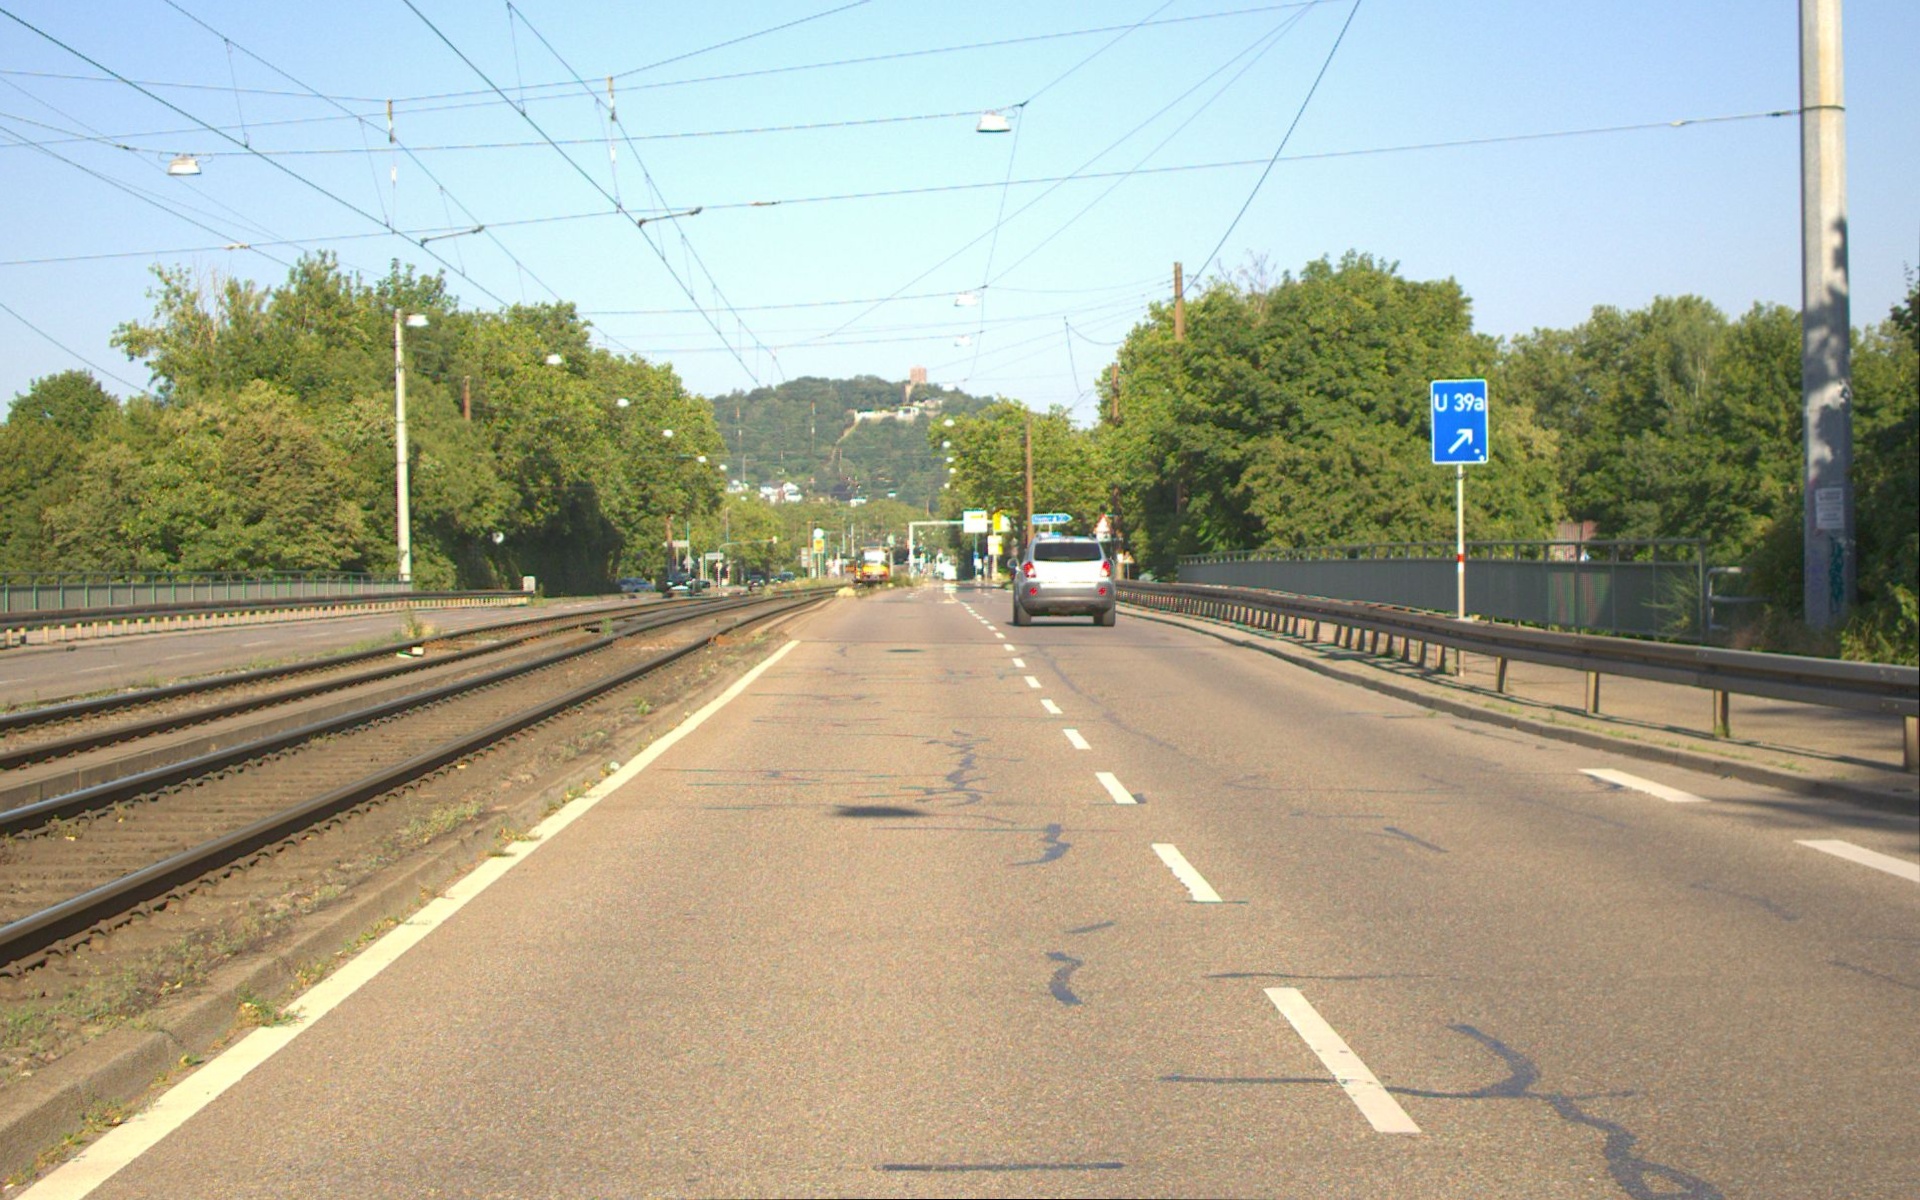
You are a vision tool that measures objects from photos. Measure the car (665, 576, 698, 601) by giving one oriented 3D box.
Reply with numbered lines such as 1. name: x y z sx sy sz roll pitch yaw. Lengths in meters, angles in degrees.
1. car: -19.350 -0.810 238.789 1.993 1.612 4.000 1 0 -1

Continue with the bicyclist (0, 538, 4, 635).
1. bicyclist: -18.747 -0.262 65.927 0.540 1.856 0.875 1 0 -1

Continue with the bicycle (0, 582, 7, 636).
1. bicycle: -18.760 0.176 65.744 0.540 1.040 1.925 1 0 -1

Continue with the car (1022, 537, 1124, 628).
1. car: 2.157 -0.343 65.653 1.888 1.688 4.256 0 0 2
